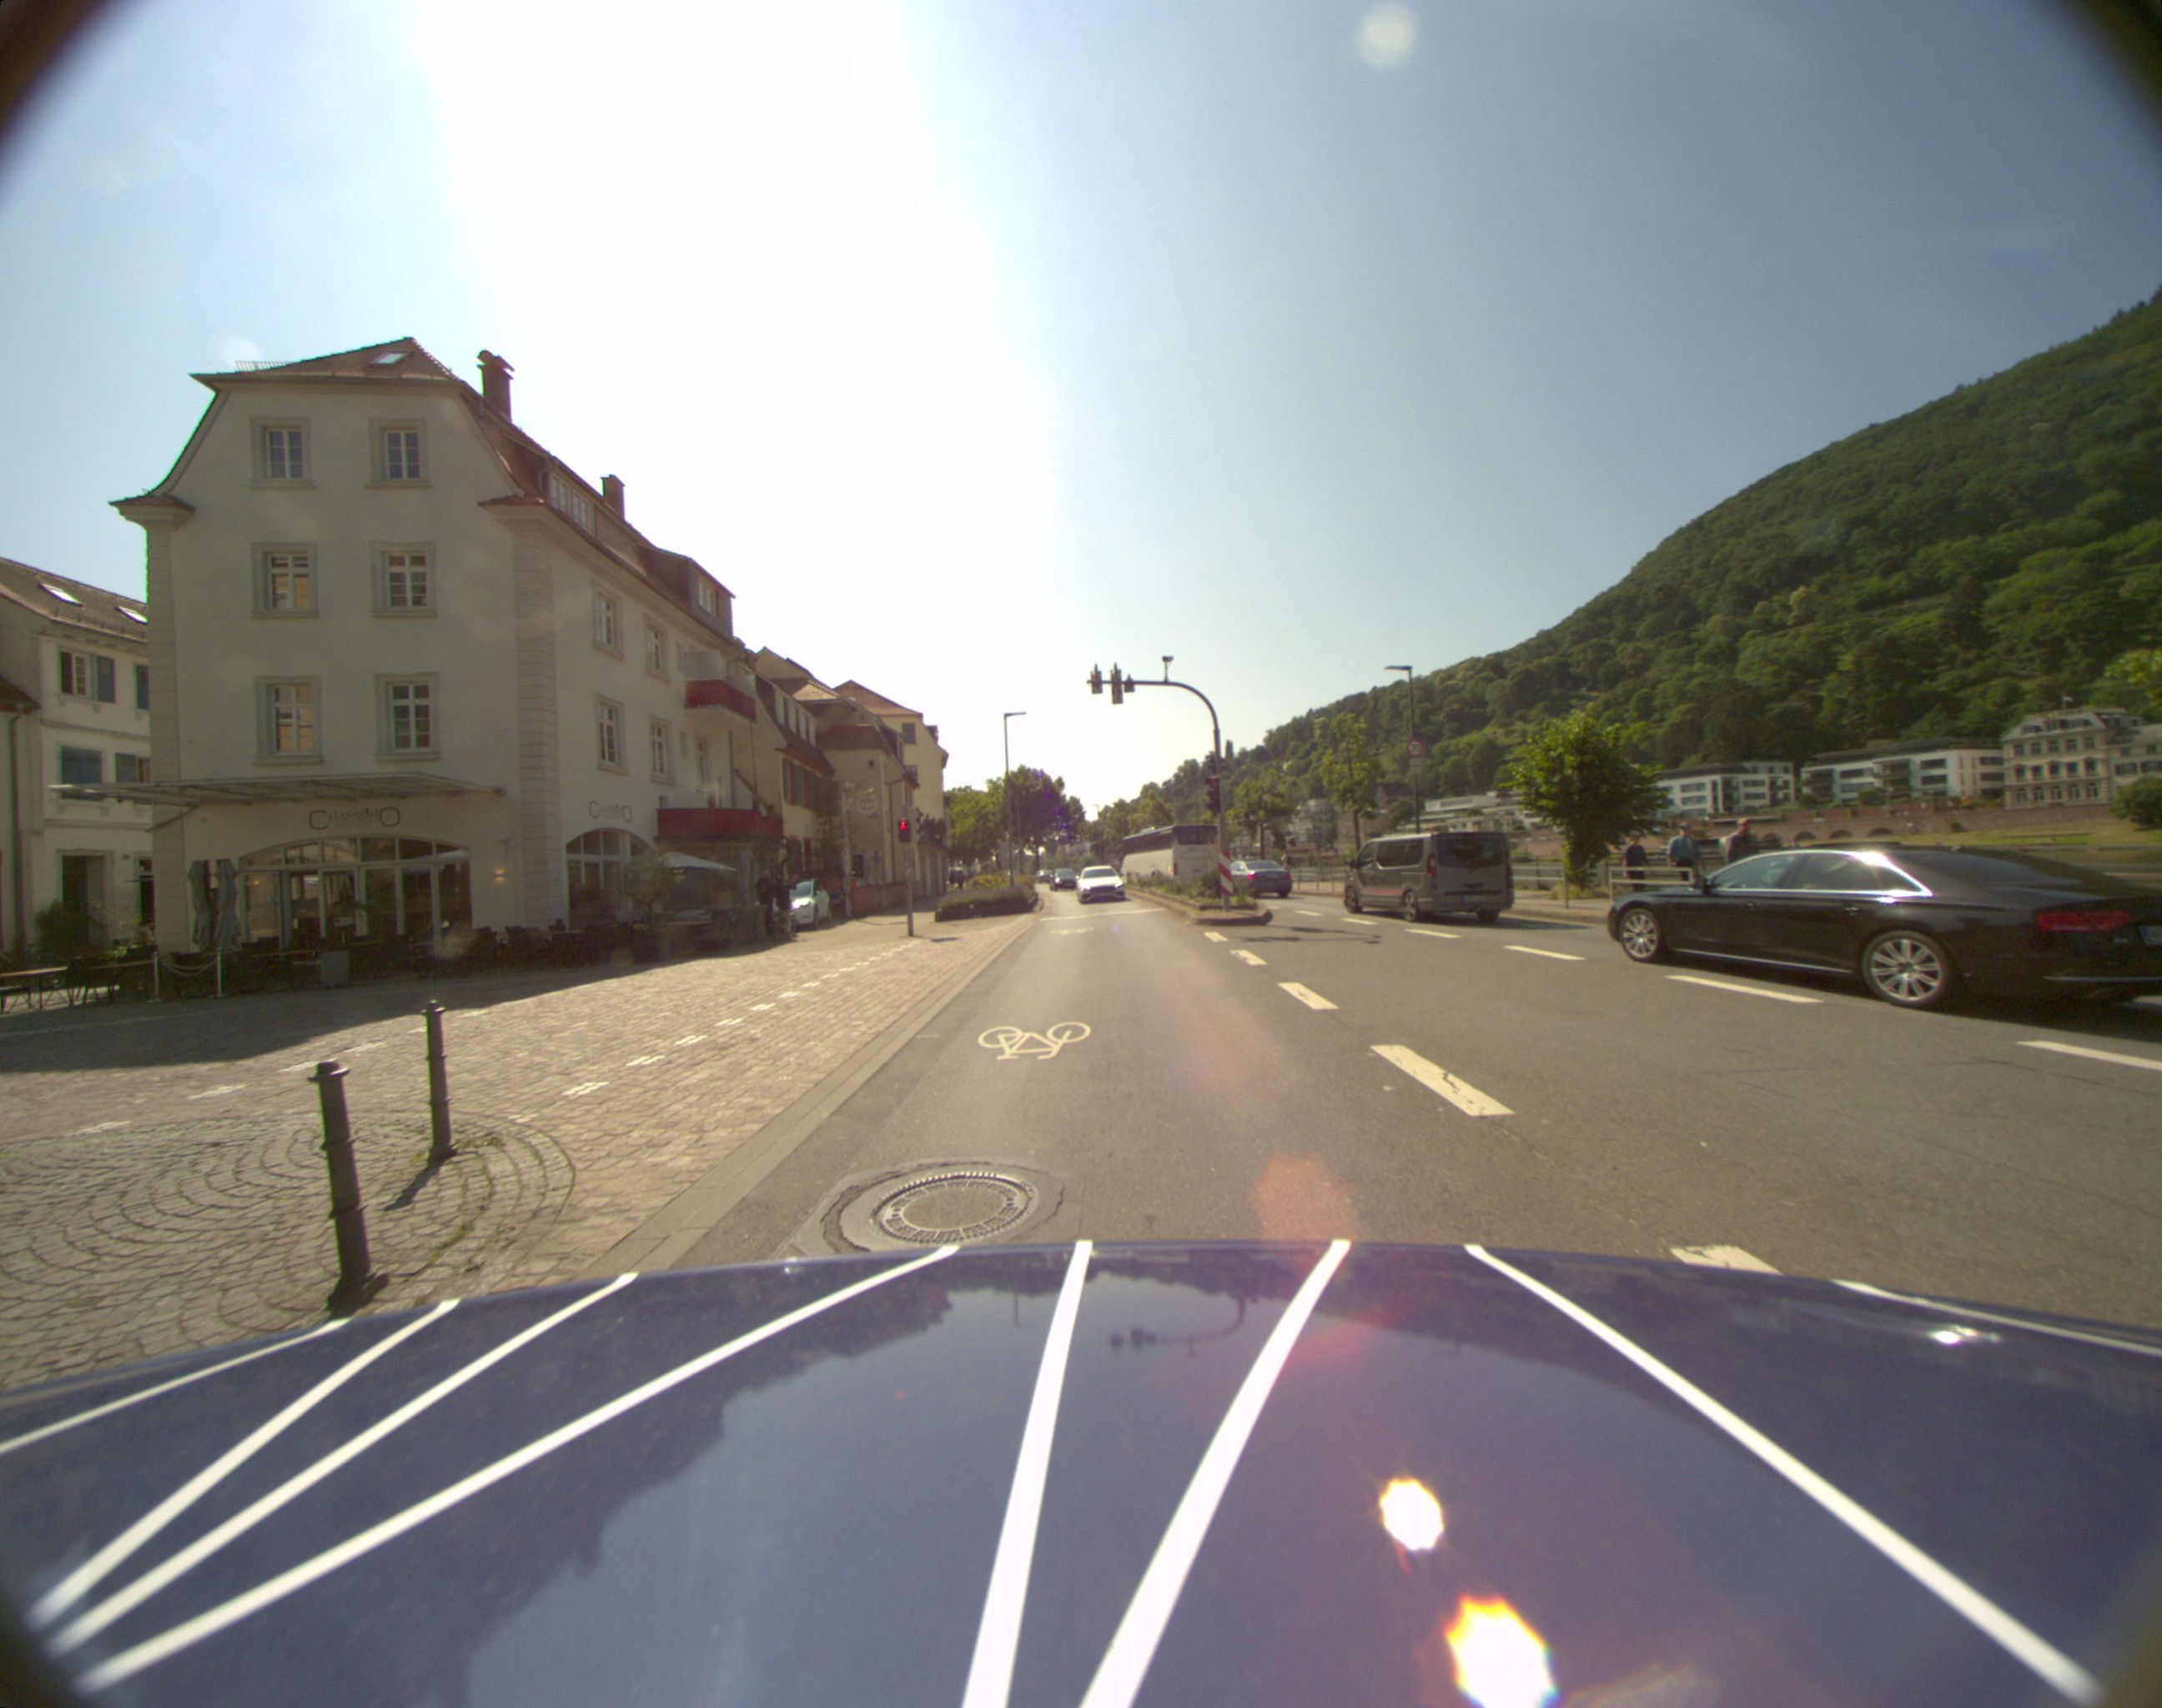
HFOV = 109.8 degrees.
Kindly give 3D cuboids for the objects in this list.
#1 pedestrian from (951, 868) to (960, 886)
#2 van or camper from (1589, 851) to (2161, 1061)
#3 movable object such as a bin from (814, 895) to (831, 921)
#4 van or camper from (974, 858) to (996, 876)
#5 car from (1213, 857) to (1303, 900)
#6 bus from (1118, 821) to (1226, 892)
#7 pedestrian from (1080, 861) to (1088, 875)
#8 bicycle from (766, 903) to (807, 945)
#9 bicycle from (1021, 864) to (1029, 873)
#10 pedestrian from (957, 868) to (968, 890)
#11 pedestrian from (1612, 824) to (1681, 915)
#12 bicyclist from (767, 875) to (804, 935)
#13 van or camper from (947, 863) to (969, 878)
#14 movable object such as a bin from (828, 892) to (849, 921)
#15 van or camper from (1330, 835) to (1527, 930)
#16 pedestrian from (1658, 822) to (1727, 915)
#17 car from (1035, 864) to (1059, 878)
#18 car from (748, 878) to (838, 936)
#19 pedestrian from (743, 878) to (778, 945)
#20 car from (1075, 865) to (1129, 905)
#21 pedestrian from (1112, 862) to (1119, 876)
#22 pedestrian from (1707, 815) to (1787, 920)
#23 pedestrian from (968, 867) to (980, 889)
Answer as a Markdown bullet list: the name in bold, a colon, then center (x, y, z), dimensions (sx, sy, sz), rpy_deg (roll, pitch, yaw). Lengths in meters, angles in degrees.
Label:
- **pedestrian**: center (-11.617, 2.117, 70.130), dimensions (0.764, 1.703, 0.695), rpy_deg (0, -1, -14)
- **van or camper**: center (8.171, 0.738, 8.038), dimensions (1.999, 1.468, 5.063), rpy_deg (-1, 0, -3)
- **movable object such as a bin**: center (-9.814, 2.040, 28.879), dimensions (0.496, 0.938, 0.320), rpy_deg (-3, 0, -1)
- **van or camper**: center (-14.588, 1.994, 115.312), dimensions (2.095, 2.542, 7.083), rpy_deg (-3, 0, -16)
- **car**: center (7.002, 0.935, 30.733), dimensions (1.999, 1.589, 5.155), rpy_deg (0, -1, -6)
- **bus**: center (4.970, 0.169, 45.226), dimensions (2.640, 3.543, 12.972), rpy_deg (-3, 0, -10)
- **pedestrian**: center (0.368, 1.734, 93.479), dimensions (0.758, 1.672, 0.658), rpy_deg (-3, 1, -8)
- **bicycle**: center (-8.118, 1.910, 21.033), dimensions (0.752, 0.958, 1.780), rpy_deg (-3, 0, -13)
- **bicycle**: center (-7.813, 2.047, 106.355), dimensions (0.714, 1.161, 1.894), rpy_deg (-3, -1, -13)
- **pedestrian**: center (-9.041, 1.887, 57.831), dimensions (0.740, 1.688, 0.933), rpy_deg (-2, 0, -9)
- **pedestrian**: center (11.699, 0.320, 15.733), dimensions (0.764, 1.793, 0.695), rpy_deg (-5, 0, -9)
- **bicyclist**: center (-8.110, 1.380, 20.890), dimensions (0.769, 1.574, 1.088), rpy_deg (-3, 0, -15)
- **van or camper**: center (-19.969, 2.726, 123.051), dimensions (2.441, 2.271, 6.196), rpy_deg (-3, 0, -18)
- **movable object such as a bin**: center (-9.221, 1.987, 28.869), dimensions (0.642, 1.061, 0.364), rpy_deg (-3, 0, -1)
- **van or camper**: center (7.900, 0.607, 17.997), dimensions (1.999, 1.862, 5.178), rpy_deg (-2, 0, -4)
- **pedestrian**: center (12.882, 0.299, 16.027), dimensions (0.764, 1.847, 0.695), rpy_deg (-5, 0, -9)
- **car**: center (-3.658, 1.814, 81.358), dimensions (1.820, 1.419, 4.307), rpy_deg (-1, -2, -12)
- **car**: center (-9.451, 1.671, 25.360), dimensions (1.884, 1.568, 4.723), rpy_deg (-3, 0, -10)
- **pedestrian**: center (-9.089, 1.606, 21.555), dimensions (0.764, 1.847, 0.609), rpy_deg (-1, 0, -9)
- **car**: center (0.815, 1.242, 31.873), dimensions (1.875, 1.415, 4.744), rpy_deg (-4, -1, -2)
- **pedestrian**: center (4.007, 1.761, 88.332), dimensions (0.696, 1.606, 0.663), rpy_deg (-3, 0, -9)
- **pedestrian**: center (12.427, 0.254, 14.195), dimensions (0.764, 1.847, 0.695), rpy_deg (-5, 0, -9)
- **pedestrian**: center (-8.160, 1.840, 57.857), dimensions (0.764, 1.585, 0.695), rpy_deg (-3, 0, -9)
